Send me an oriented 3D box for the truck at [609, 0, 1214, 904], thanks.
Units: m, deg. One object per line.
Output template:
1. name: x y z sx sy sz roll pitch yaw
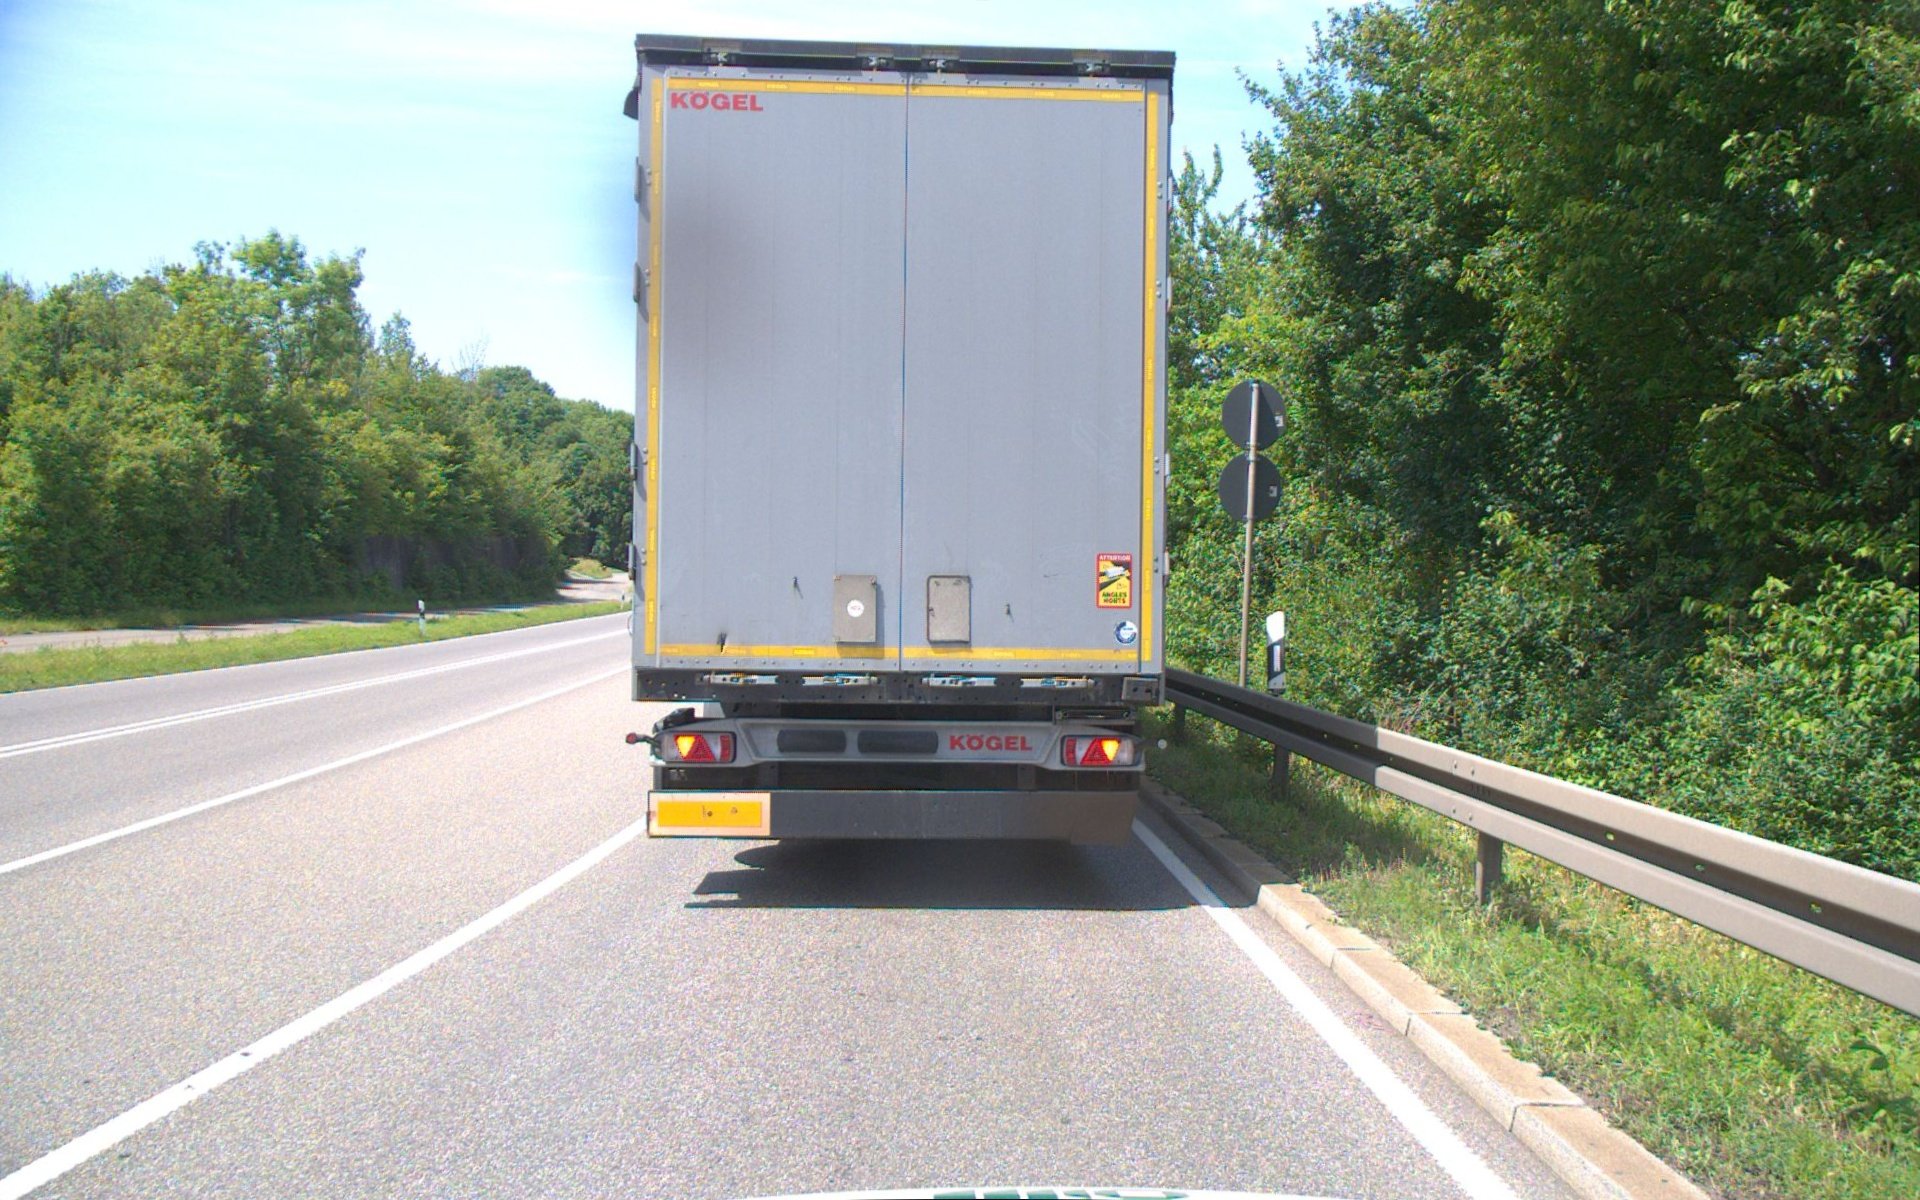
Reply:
1. truck: -0.368 -0.723 13.451 2.701 4.100 11.920 1 0 -2
